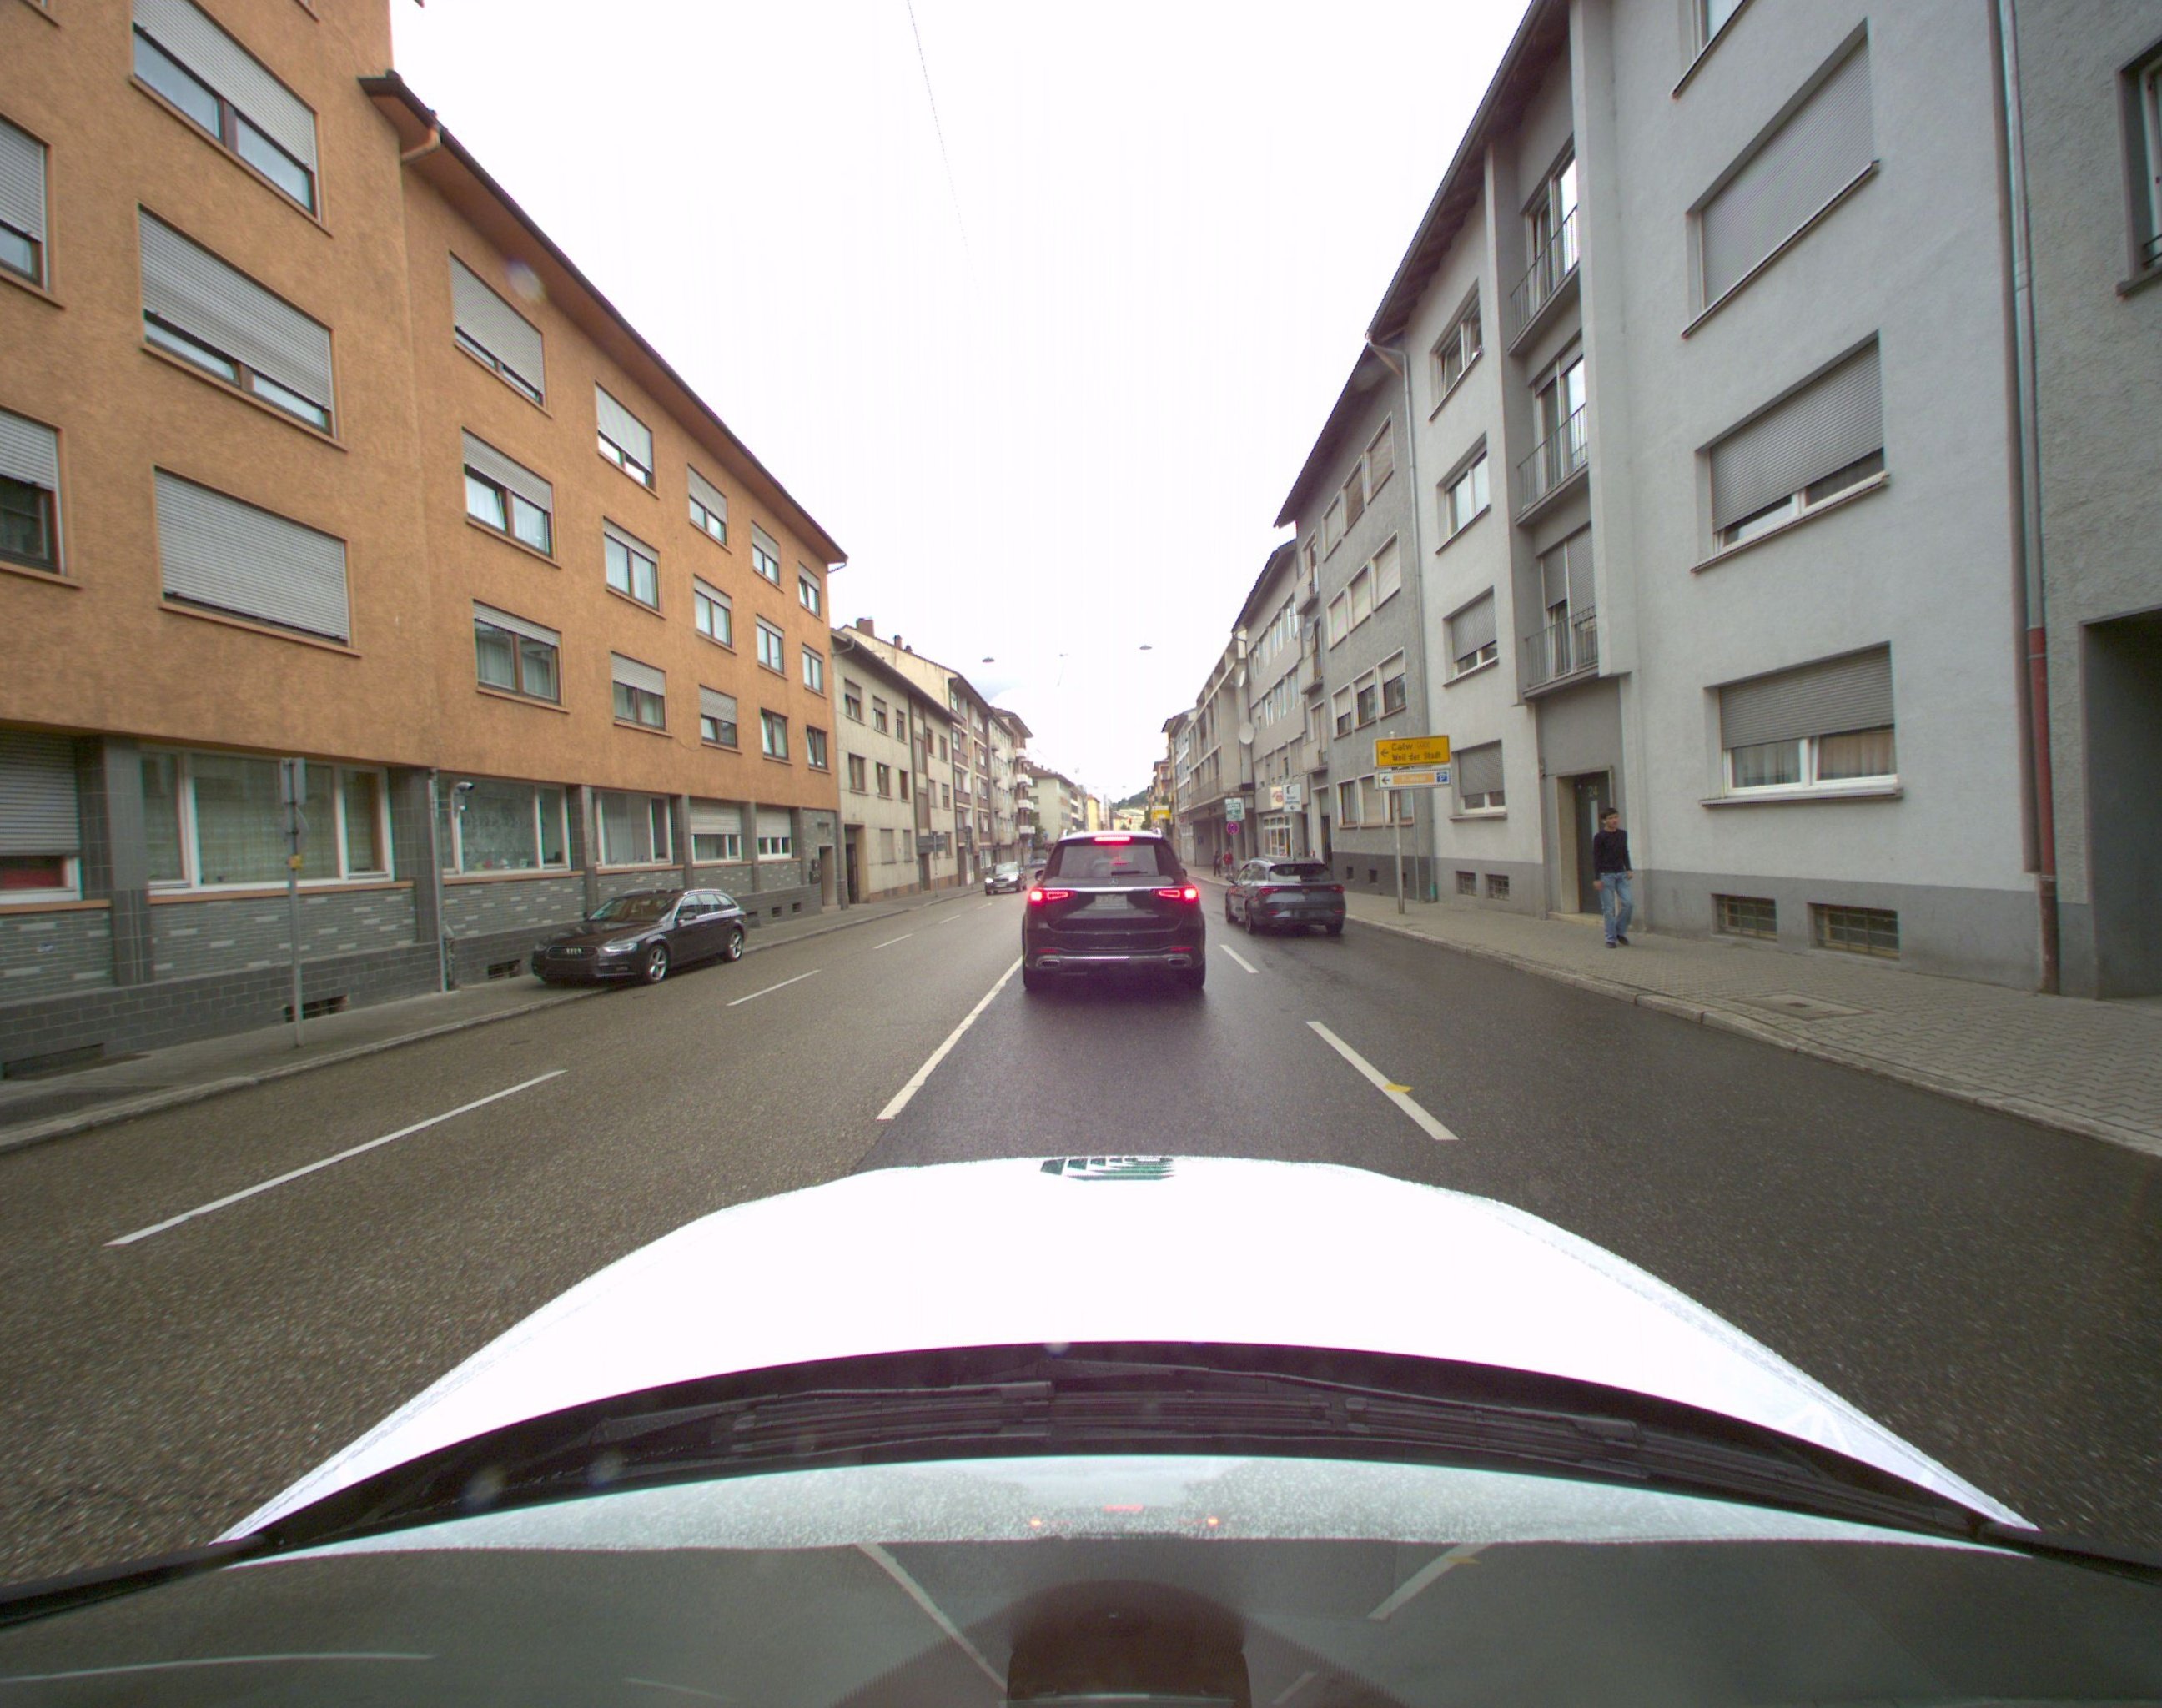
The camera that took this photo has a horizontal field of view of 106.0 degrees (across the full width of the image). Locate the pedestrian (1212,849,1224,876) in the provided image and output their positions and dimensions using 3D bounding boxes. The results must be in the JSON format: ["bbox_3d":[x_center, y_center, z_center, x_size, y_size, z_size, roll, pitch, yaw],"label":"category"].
[{"bbox_3d":[8.023,0.504,47.614,0.504,1.500,0.562,-5,0,1],"label":"pedestrian"}]

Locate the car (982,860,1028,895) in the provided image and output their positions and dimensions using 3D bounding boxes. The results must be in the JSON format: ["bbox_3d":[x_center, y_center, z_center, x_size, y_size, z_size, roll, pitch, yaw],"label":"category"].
[{"bbox_3d":[-3.776,1.131,40.871,1.697,1.507,4.160,-5,0,1],"label":"car"}]

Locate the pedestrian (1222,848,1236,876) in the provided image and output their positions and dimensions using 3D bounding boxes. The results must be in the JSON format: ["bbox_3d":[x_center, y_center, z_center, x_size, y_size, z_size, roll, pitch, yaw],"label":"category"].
[{"bbox_3d":[8.652,0.448,47.648,0.559,1.578,0.525,-5,0,-4],"label":"pedestrian"}]

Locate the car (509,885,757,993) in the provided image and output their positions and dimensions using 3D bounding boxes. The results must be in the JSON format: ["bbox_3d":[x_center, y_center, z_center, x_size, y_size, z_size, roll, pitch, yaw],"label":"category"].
[{"bbox_3d":[-7.593,1.352,14.430,1.789,1.438,4.528,0,0,1],"label":"car"}]

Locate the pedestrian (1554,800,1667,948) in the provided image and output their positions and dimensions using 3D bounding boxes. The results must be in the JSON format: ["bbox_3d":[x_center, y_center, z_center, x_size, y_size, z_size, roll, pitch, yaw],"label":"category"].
[{"bbox_3d":[6.863,0.246,10.614,0.641,1.778,1.057,-5,0,1],"label":"pedestrian"}]

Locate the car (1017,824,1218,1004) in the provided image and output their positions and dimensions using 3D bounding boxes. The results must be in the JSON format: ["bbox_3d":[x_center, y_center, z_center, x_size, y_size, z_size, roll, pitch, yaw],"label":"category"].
[{"bbox_3d":[0.419,0.598,10.187,2.018,1.806,4.001,0,0,1],"label":"car"}]

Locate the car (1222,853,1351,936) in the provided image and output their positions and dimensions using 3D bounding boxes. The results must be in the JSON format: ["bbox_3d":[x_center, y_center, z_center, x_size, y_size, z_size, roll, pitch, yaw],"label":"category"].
[{"bbox_3d":[3.947,0.705,16.326,1.615,1.430,4.313,0,0,1],"label":"car"}]

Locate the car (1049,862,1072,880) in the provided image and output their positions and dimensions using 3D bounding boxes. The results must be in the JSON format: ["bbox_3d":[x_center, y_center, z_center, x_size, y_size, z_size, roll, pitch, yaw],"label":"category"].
[{"bbox_3d":[-2.037,1.687,82.597,1.789,1.584,4.322,-5,0,5],"label":"car"}]

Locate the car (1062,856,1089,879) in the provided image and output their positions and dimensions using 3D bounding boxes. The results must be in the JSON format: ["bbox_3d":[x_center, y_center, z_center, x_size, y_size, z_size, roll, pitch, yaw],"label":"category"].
[{"bbox_3d":[-0.416,1.095,67.609,1.828,1.727,4.479,-5,0,4],"label":"car"}]
